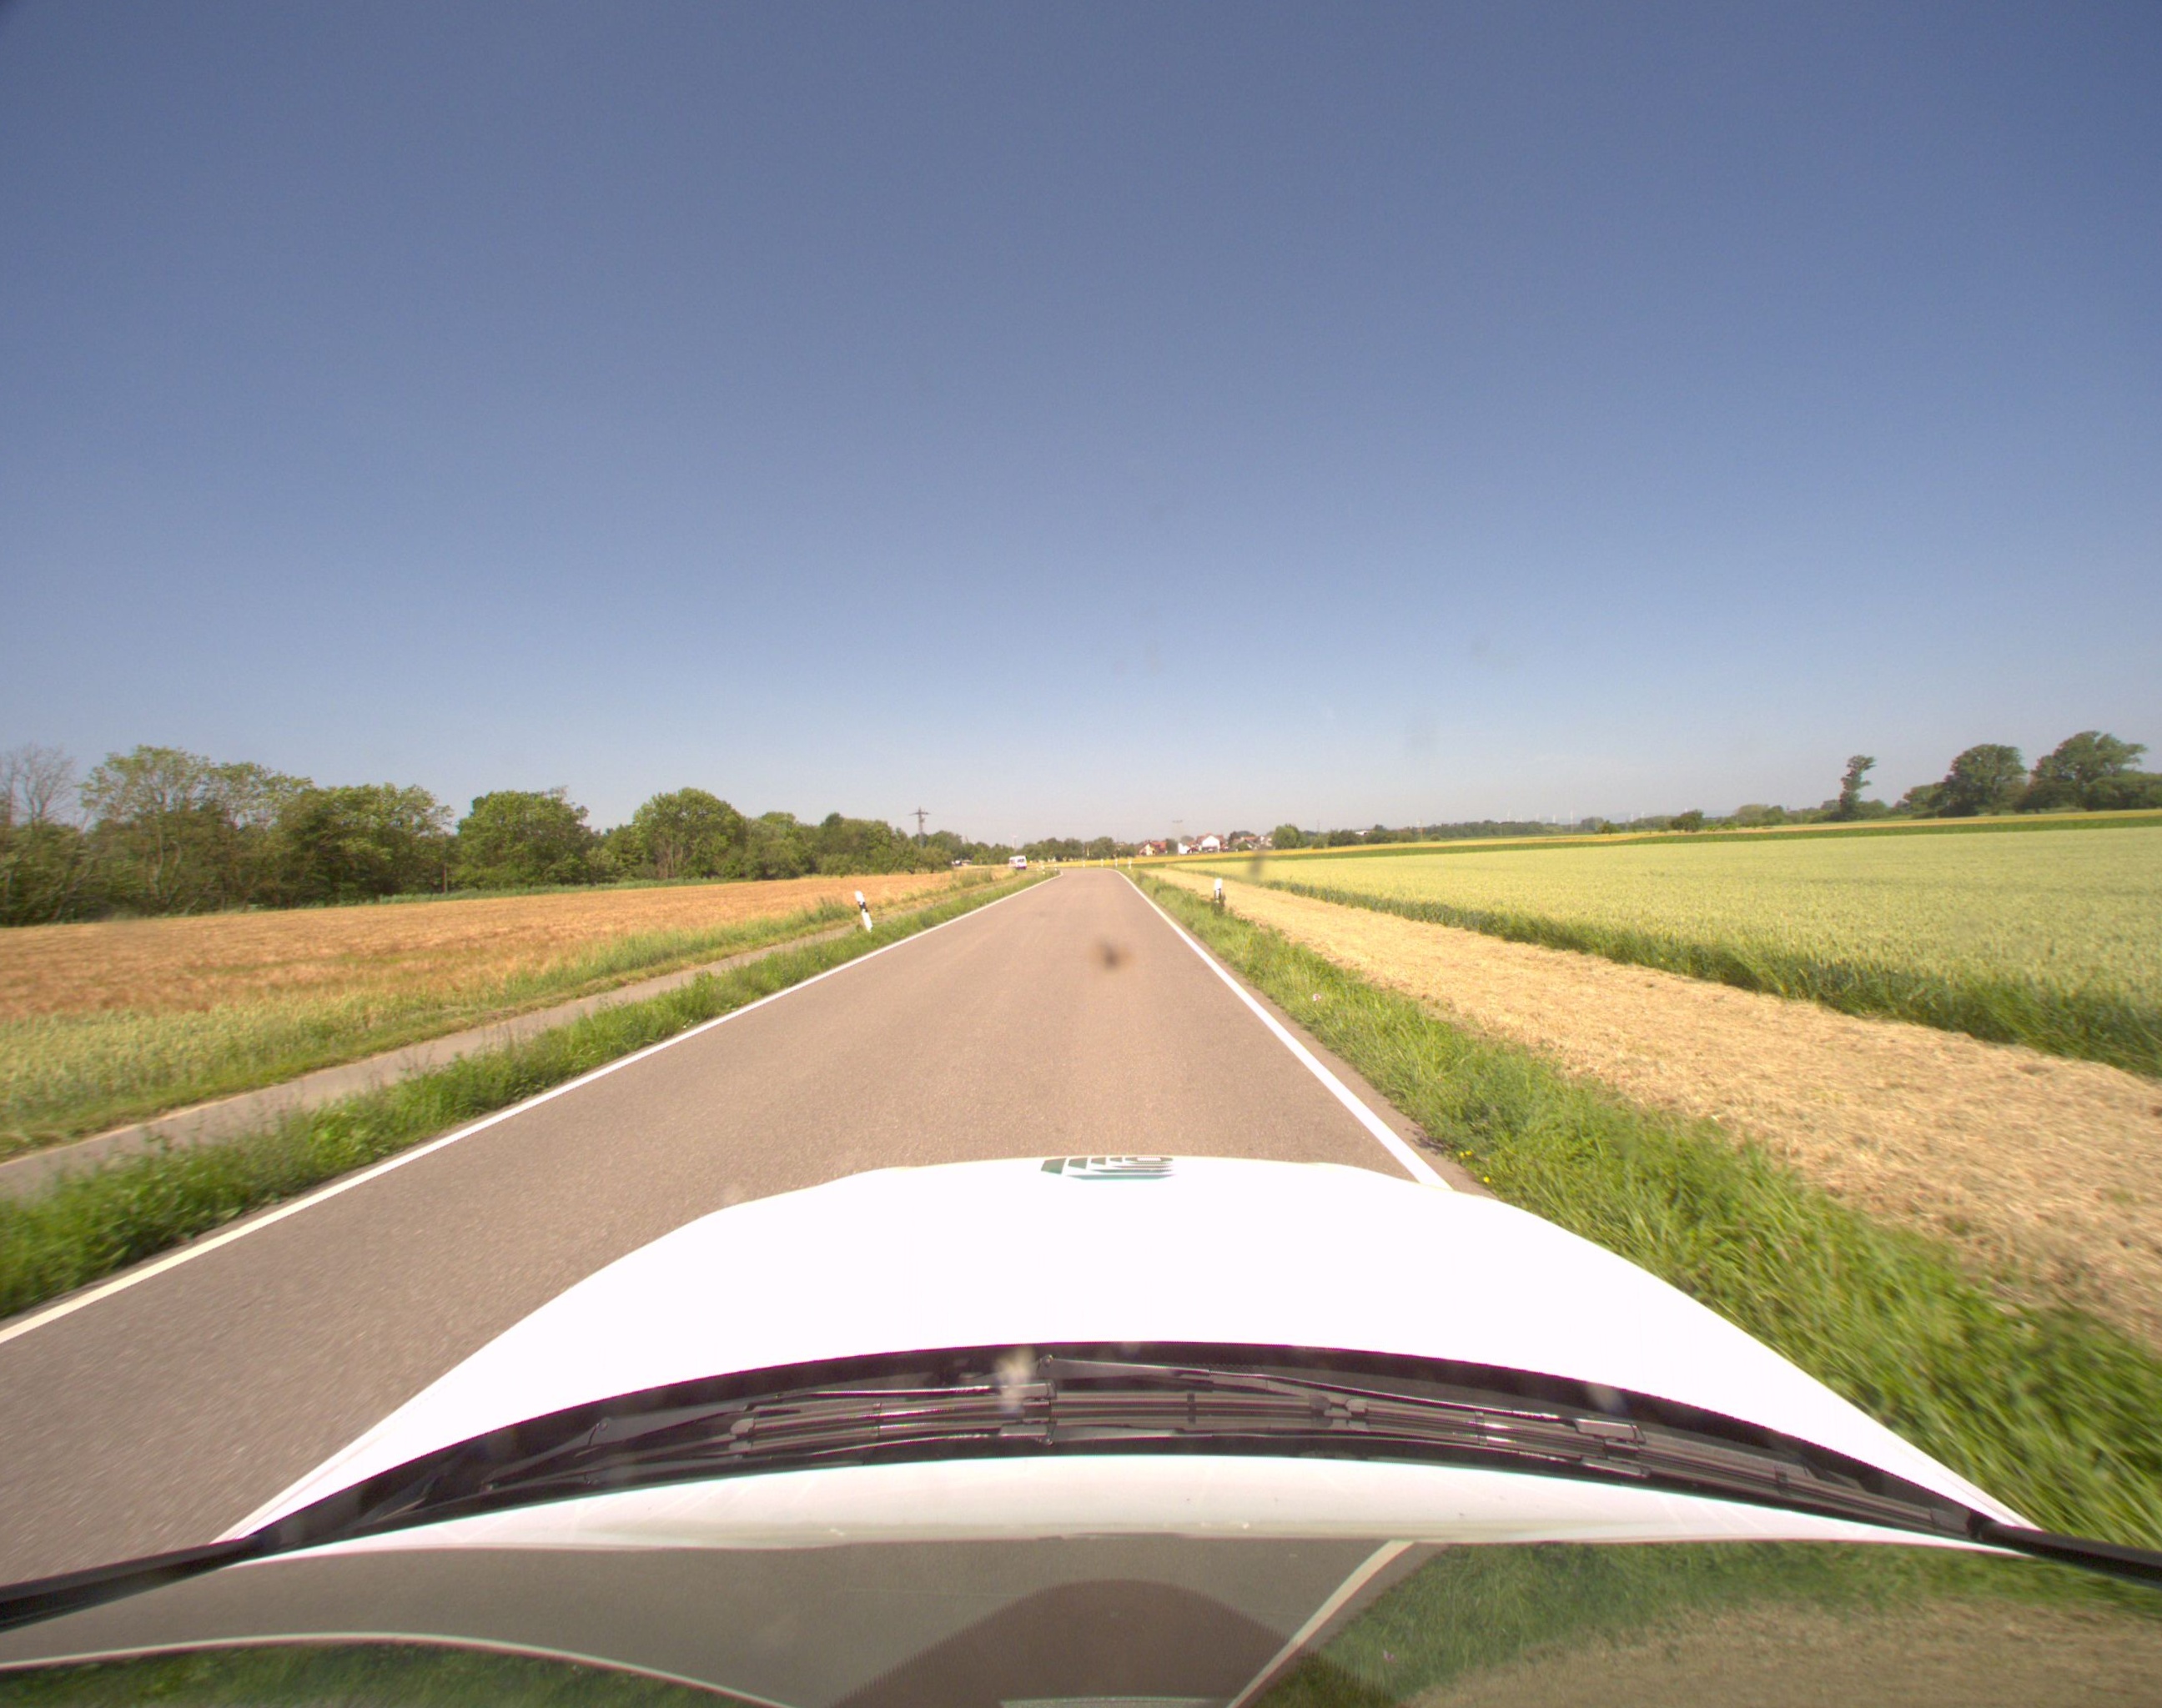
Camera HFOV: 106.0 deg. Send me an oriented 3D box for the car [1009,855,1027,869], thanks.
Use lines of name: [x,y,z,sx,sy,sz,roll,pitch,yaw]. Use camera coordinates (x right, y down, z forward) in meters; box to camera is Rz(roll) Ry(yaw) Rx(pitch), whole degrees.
car: [-11.258,1.390,145.220,2.001,2.266,4.693,-3,0,-20]
